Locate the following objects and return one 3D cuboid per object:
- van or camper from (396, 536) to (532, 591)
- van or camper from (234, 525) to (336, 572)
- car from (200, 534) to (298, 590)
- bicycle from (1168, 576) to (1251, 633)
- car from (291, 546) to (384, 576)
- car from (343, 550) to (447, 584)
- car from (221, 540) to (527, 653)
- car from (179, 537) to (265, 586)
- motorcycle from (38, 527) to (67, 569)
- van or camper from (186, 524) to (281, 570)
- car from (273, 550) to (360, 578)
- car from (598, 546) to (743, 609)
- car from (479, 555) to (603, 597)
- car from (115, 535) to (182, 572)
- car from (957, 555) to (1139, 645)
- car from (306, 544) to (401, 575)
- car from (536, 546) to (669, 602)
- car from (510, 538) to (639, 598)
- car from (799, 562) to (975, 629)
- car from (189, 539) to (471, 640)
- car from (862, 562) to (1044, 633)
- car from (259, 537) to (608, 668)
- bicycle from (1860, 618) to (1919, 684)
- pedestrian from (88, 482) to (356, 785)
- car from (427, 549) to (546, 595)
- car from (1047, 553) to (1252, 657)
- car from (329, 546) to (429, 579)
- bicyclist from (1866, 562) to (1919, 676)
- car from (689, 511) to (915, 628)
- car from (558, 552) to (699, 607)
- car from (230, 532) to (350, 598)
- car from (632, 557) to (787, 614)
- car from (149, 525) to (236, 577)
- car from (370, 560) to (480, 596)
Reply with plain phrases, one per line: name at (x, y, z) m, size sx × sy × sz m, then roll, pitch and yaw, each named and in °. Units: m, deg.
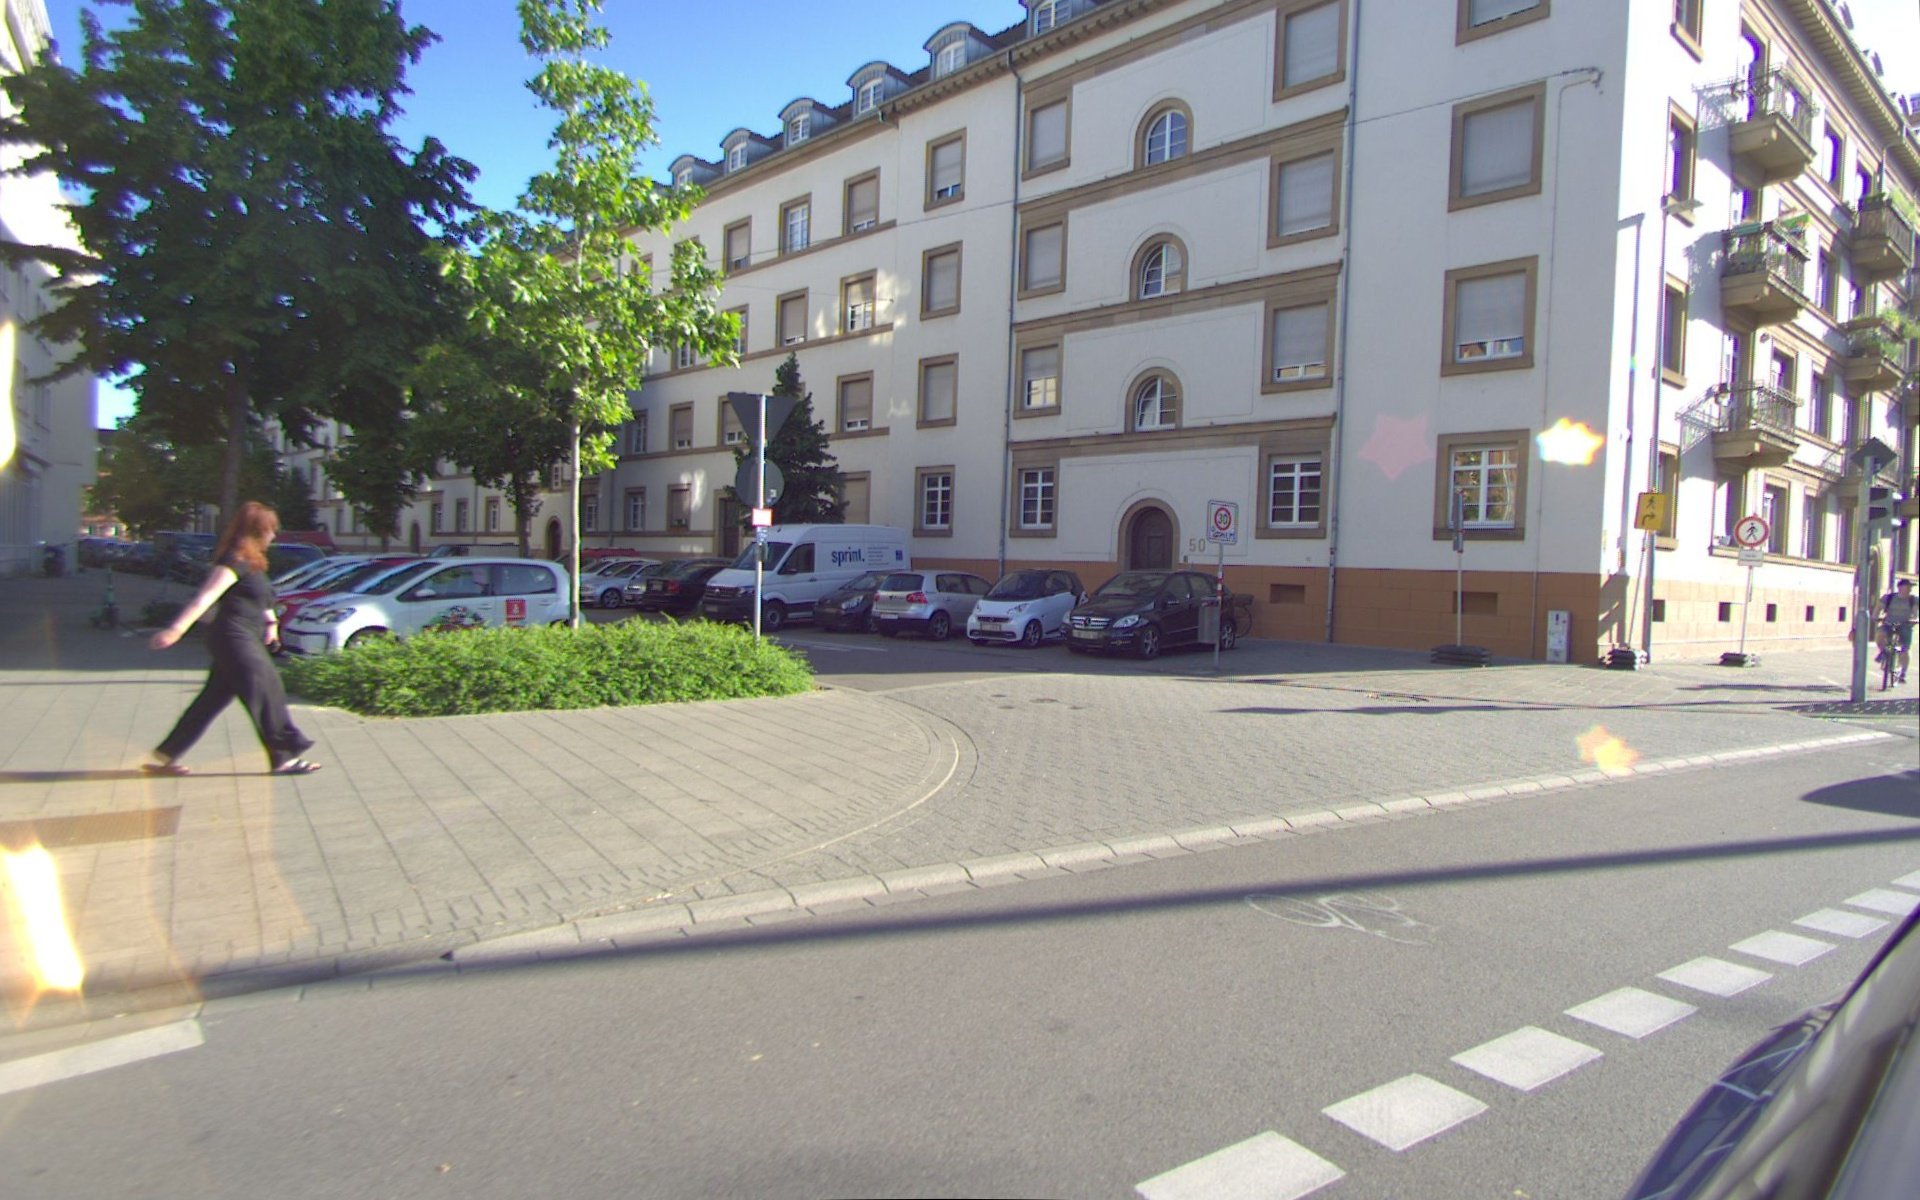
van or camper at (-20.746, -1.459, 42.505) m, size 1.815 × 2.124 × 4.808 m, roll 0°, pitch 0°, yaw 44°
van or camper at (-40.769, -3.061, 61.205) m, size 1.811 × 2.560 × 4.817 m, roll 0°, pitch 0°, yaw 39°
car at (-22.871, -1.173, 32.506) m, size 3.986 × 1.661 × 1.797 m, roll 1°, pitch 0°, yaw 43°
bicycle at (5.597, 0.082, 22.799) m, size 1.802 × 1.179 × 0.401 m, roll 3°, pitch 3°, yaw 39°
car at (-33.332, -2.069, 54.245) m, size 1.690 × 1.454 × 3.936 m, roll 0°, pitch 0°, yaw 44°
car at (-26.529, -1.515, 47.586) m, size 1.690 × 1.454 × 3.936 m, roll 0°, pitch 0°, yaw 44°
car at (-8.566, -0.038, 14.989) m, size 1.631 × 1.471 × 3.600 m, roll 0°, pitch 0°, yaw 42°
car at (-26.211, -1.325, 35.897) m, size 3.986 × 1.609 × 1.765 m, roll 1°, pitch 0°, yaw 43°
motorcycle at (-30.528, -1.752, 34.046) m, size 0.641 × 1.338 × 2.263 m, roll 1°, pitch 1°, yaw -40°
van or camper at (-47.853, -3.429, 66.734) m, size 1.811 × 2.754 × 4.817 m, roll 0°, pitch 0°, yaw 39°
car at (-36.825, -2.017, 57.971) m, size 1.690 × 1.454 × 3.936 m, roll 0°, pitch 0°, yaw 44°
car at (-8.671, -0.630, 30.513) m, size 1.539 × 1.761 × 3.935 m, roll 0°, pitch 0°, yaw 45°
car at (-15.585, -0.855, 37.768) m, size 1.691 × 1.454 × 3.935 m, roll 0°, pitch 0°, yaw 45°
car at (-36.963, -2.076, 46.060) m, size 3.984 × 1.527 × 1.757 m, roll 1°, pitch 0°, yaw 42°
car at (1.959, -0.081, 21.373) m, size 1.621 × 1.707 × 4.376 m, roll 2°, pitch 3°, yaw 40°
car at (-31.494, -2.064, 52.597) m, size 1.690 × 1.454 × 3.936 m, roll 0°, pitch 0°, yaw 44°
car at (-12.073, -0.843, 34.361) m, size 1.688 × 1.749 × 3.942 m, roll 0°, pitch 0°, yaw 40°
car at (-13.646, -1.092, 35.972) m, size 1.690 × 1.961 × 3.938 m, roll 0°, pitch 0°, yaw 43°
car at (-1.706, -0.146, 24.799) m, size 1.691 × 1.497 × 4.373 m, roll 1°, pitch 1°, yaw 42°
car at (-10.282, -0.140, 16.673) m, size 3.673 × 1.473 × 1.633 m, roll 1°, pitch 0°, yaw -45°
car at (-0.063, -0.086, 22.932) m, size 1.691 × 1.447 × 4.374 m, roll 1°, pitch 1°, yaw 41°
car at (-6.862, 0.037, 13.487) m, size 1.660 × 1.493 × 3.780 m, roll 1°, pitch 0°, yaw 40°
bicycle at (15.386, 0.800, 16.449) m, size 2.158 × 0.965 × 0.769 m, roll 1°, pitch 2°, yaw -39°
pedestrian at (-4.632, 0.185, 6.450) m, size 1.083 × 1.784 × 0.889 m, roll 2°, pitch 3°, yaw -7°
car at (-18.833, -1.065, 40.374) m, size 1.736 × 1.701 × 3.938 m, roll 0°, pitch 0°, yaw 43°
car at (3.721, 0.004, 19.334) m, size 1.693 × 1.707 × 4.371 m, roll 0°, pitch 3°, yaw 44°
car at (-28.486, -1.822, 49.691) m, size 1.690 × 1.454 × 3.936 m, roll 0°, pitch 0°, yaw 44°
bicyclist at (15.251, 0.296, 16.328) m, size 0.921 × 1.785 × 0.735 m, roll 1°, pitch 2°, yaw -39°
car at (-3.841, -0.865, 25.761) m, size 1.921 × 2.640 × 5.877 m, roll 3°, pitch 4°, yaw 41°
car at (-10.479, -0.601, 32.139) m, size 3.934 × 1.636 × 1.691 m, roll 1°, pitch 0°, yaw -44°
car at (-19.429, -1.041, 29.279) m, size 4.385 × 1.719 × 1.968 m, roll 4°, pitch 2°, yaw 44°
car at (-7.038, -0.372, 28.662) m, size 3.930 × 1.509 × 1.693 m, roll 1°, pitch 0°, yaw -41°
car at (-29.492, -1.824, 38.846) m, size 4.163 × 1.822 × 1.903 m, roll 1°, pitch 0°, yaw 42°
car at (-23.324, -0.931, 44.239) m, size 1.690 × 1.454 × 3.936 m, roll 0°, pitch 0°, yaw 44°
